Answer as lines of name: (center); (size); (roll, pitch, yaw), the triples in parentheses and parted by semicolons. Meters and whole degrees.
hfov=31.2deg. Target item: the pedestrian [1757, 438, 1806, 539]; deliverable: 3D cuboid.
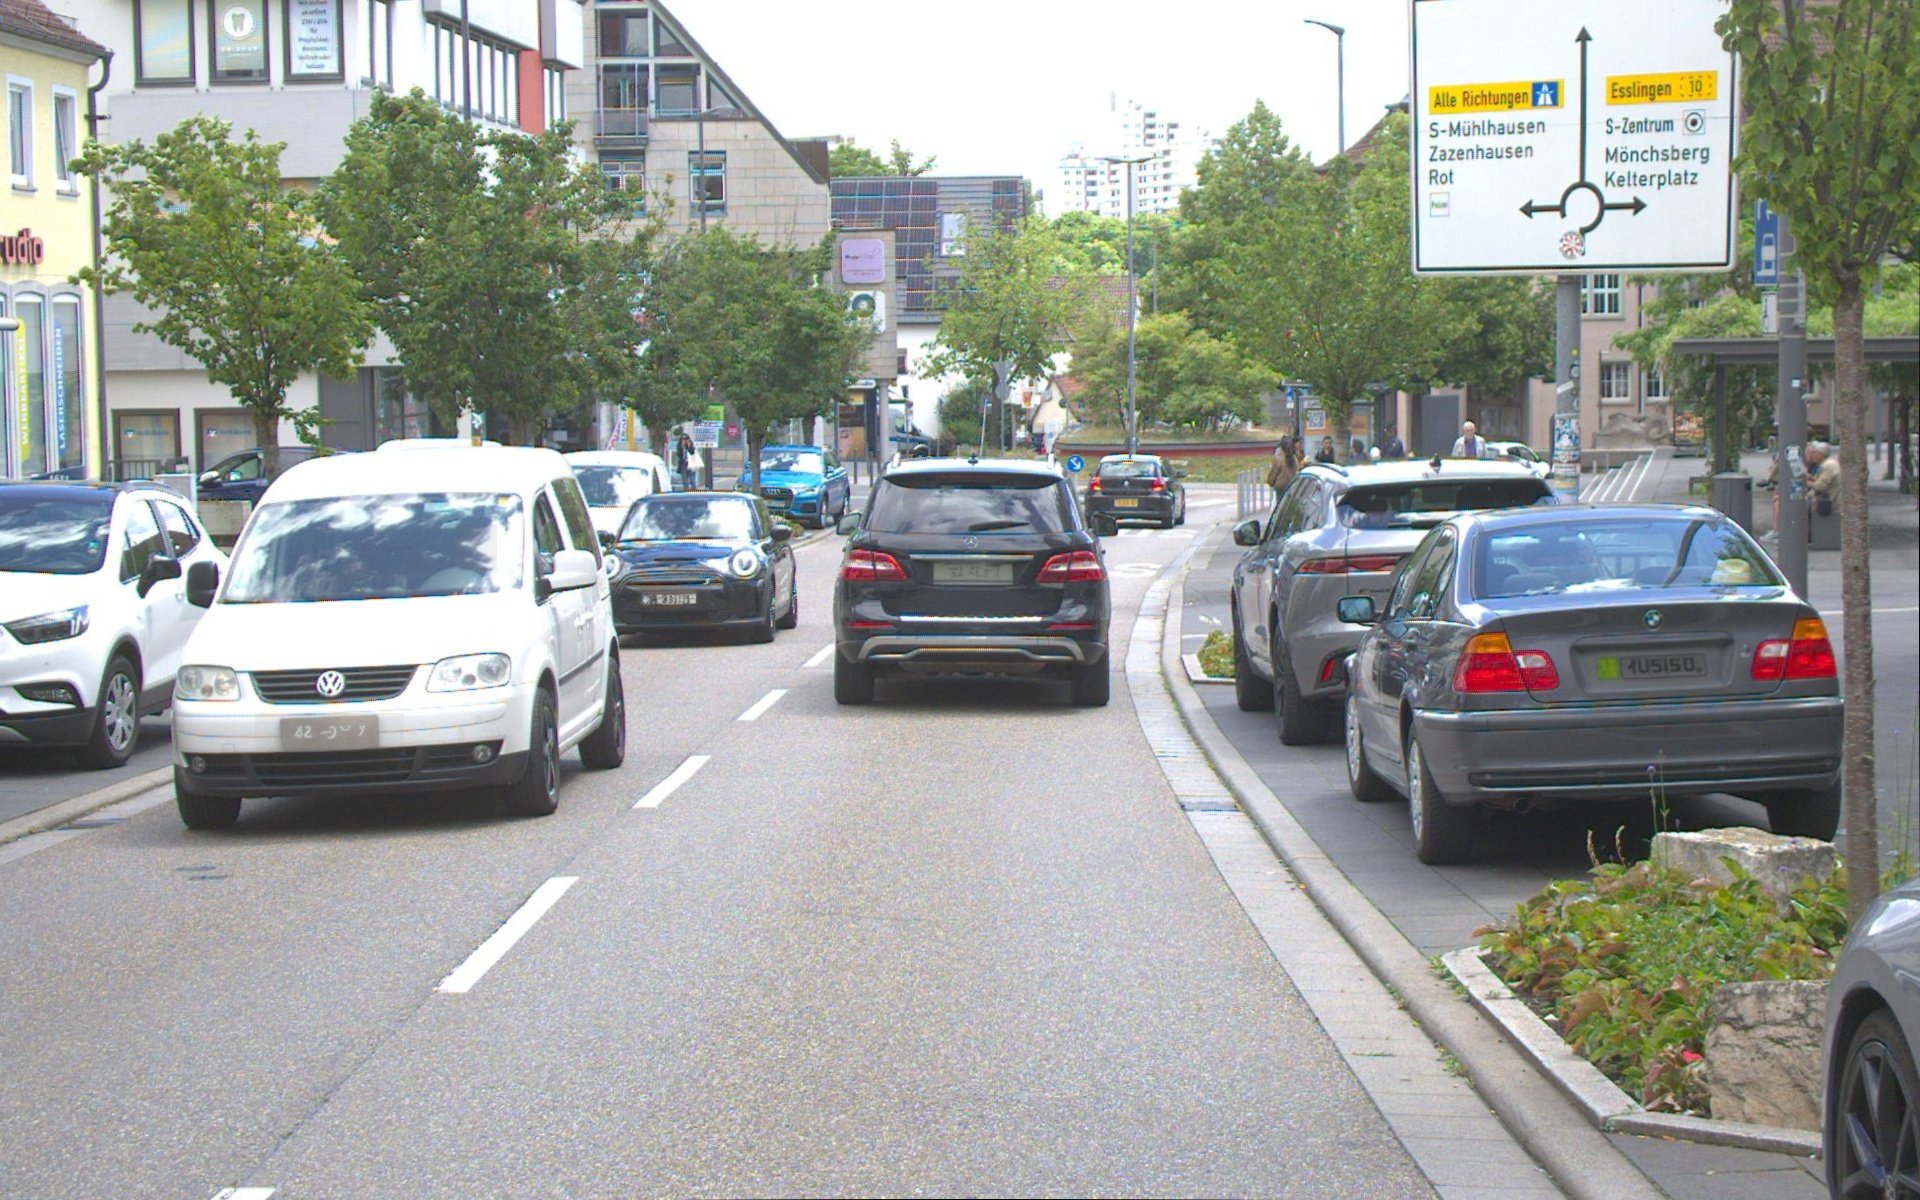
pedestrian: (10.636, -1.448, 44.506); (0.568, 1.257, 0.541); (-1, 5, 9)

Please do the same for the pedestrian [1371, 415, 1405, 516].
pedestrian: (7.223, -2.267, 57.996); (0.511, 1.674, 0.576); (-1, 3, 5)

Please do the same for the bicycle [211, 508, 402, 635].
bicycle: (-5.975, -0.271, 31.485); (1.649, 1.083, 0.413); (-4, 3, -35)

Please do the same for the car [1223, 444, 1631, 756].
car: (2.786, -0.096, 21.488); (1.928, 1.718, 4.574); (-1, 2, 0)

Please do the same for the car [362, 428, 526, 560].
car: (-7.480, -1.588, 50.194); (1.756, 1.807, 4.477); (1, 3, -1)

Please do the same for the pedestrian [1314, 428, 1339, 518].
pedestrian: (6.491, -2.251, 60.901); (0.393, 1.560, 0.352); (-1, 3, 8)

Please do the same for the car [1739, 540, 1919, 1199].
car: (2.449, 0.630, 4.496); (1.754, 1.436, 4.090); (-2, 1, -2)

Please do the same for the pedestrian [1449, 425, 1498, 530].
pedestrian: (8.318, -1.987, 55.681); (0.685, 1.676, 0.714); (0, 3, 16)

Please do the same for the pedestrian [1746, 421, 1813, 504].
pedestrian: (12.708, -2.139, 53.322); (0.770, 1.264, 0.675); (3, 4, 41)

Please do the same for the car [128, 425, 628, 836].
car: (-2.847, 0.076, 17.718); (1.746, 1.796, 4.212); (-2, 2, 1)

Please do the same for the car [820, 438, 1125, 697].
car: (-0.006, -0.261, 25.220); (2.027, 1.721, 4.434); (0, 1, -2)

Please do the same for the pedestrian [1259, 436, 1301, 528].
pedestrian: (5.433, -2.004, 58.301); (0.513, 1.543, 0.486); (0, 3, 31)

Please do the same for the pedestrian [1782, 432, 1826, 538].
pedestrian: (10.744, -1.469, 43.784); (0.498, 1.316, 0.525); (-1, 5, 10)

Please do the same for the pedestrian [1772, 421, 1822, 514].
pedestrian: (12.000, -1.903, 49.294); (0.624, 1.303, 0.546); (-1, 3, 9)

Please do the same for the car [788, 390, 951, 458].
car: (-3.690, -7.162, 140.246); (6.283, 2.551, 2.207); (1, 0, -16)

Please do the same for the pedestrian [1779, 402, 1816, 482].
pedestrian: (13.878, -2.615, 56.941); (0.568, 1.319, 0.545); (1, 3, 15)

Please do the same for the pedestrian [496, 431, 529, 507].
pedestrian: (-9.408, -2.754, 72.307); (0.510, 1.561, 0.586); (-1, 3, 6)

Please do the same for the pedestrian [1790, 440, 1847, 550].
pedestrian: (10.617, -1.302, 42.510); (0.616, 1.316, 0.586); (-1, 5, 8)

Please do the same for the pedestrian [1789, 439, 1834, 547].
pedestrian: (10.690, -1.348, 43.157); (0.495, 1.316, 0.575); (-1, 5, 8)

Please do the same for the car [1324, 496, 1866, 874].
car: (2.639, 0.290, 15.225); (1.681, 1.412, 4.371); (-1, 1, 2)

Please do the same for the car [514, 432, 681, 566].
car: (-4.734, -1.375, 45.378); (1.656, 1.666, 4.351); (1, 3, 1)

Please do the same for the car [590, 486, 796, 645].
car: (-2.522, -0.374, 33.129); (1.606, 1.383, 3.629); (-2, 2, 1)

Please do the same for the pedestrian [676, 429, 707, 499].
pedestrian: (-6.161, -3.126, 78.928); (0.587, 1.582, 0.638); (1, 3, 6)

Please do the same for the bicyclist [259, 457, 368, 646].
bicyclist: (-5.921, -0.451, 31.489); (0.775, 1.689, 0.510); (-4, 3, -34)

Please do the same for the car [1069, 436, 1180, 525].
car: (3.221, -2.388, 67.805); (2.052, 1.582, 4.373); (2, 3, 2)

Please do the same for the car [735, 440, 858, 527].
car: (-3.230, -2.362, 68.753); (1.695, 1.594, 4.331); (3, 3, 7)

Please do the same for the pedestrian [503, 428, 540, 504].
pedestrian: (-9.138, -2.791, 71.619); (0.584, 1.561, 0.645); (-3, 3, -18)

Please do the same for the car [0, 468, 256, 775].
car: (-5.599, 0.040, 20.867); (1.665, 1.640, 4.134); (1, 2, 2)

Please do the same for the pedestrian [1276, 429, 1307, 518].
pedestrian: (5.856, -2.236, 60.743); (0.500, 1.560, 0.498); (-1, 3, 5)

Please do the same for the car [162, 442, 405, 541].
car: (-10.914, -1.766, 55.598); (3.627, 1.553, 1.669); (0, 3, -2)
